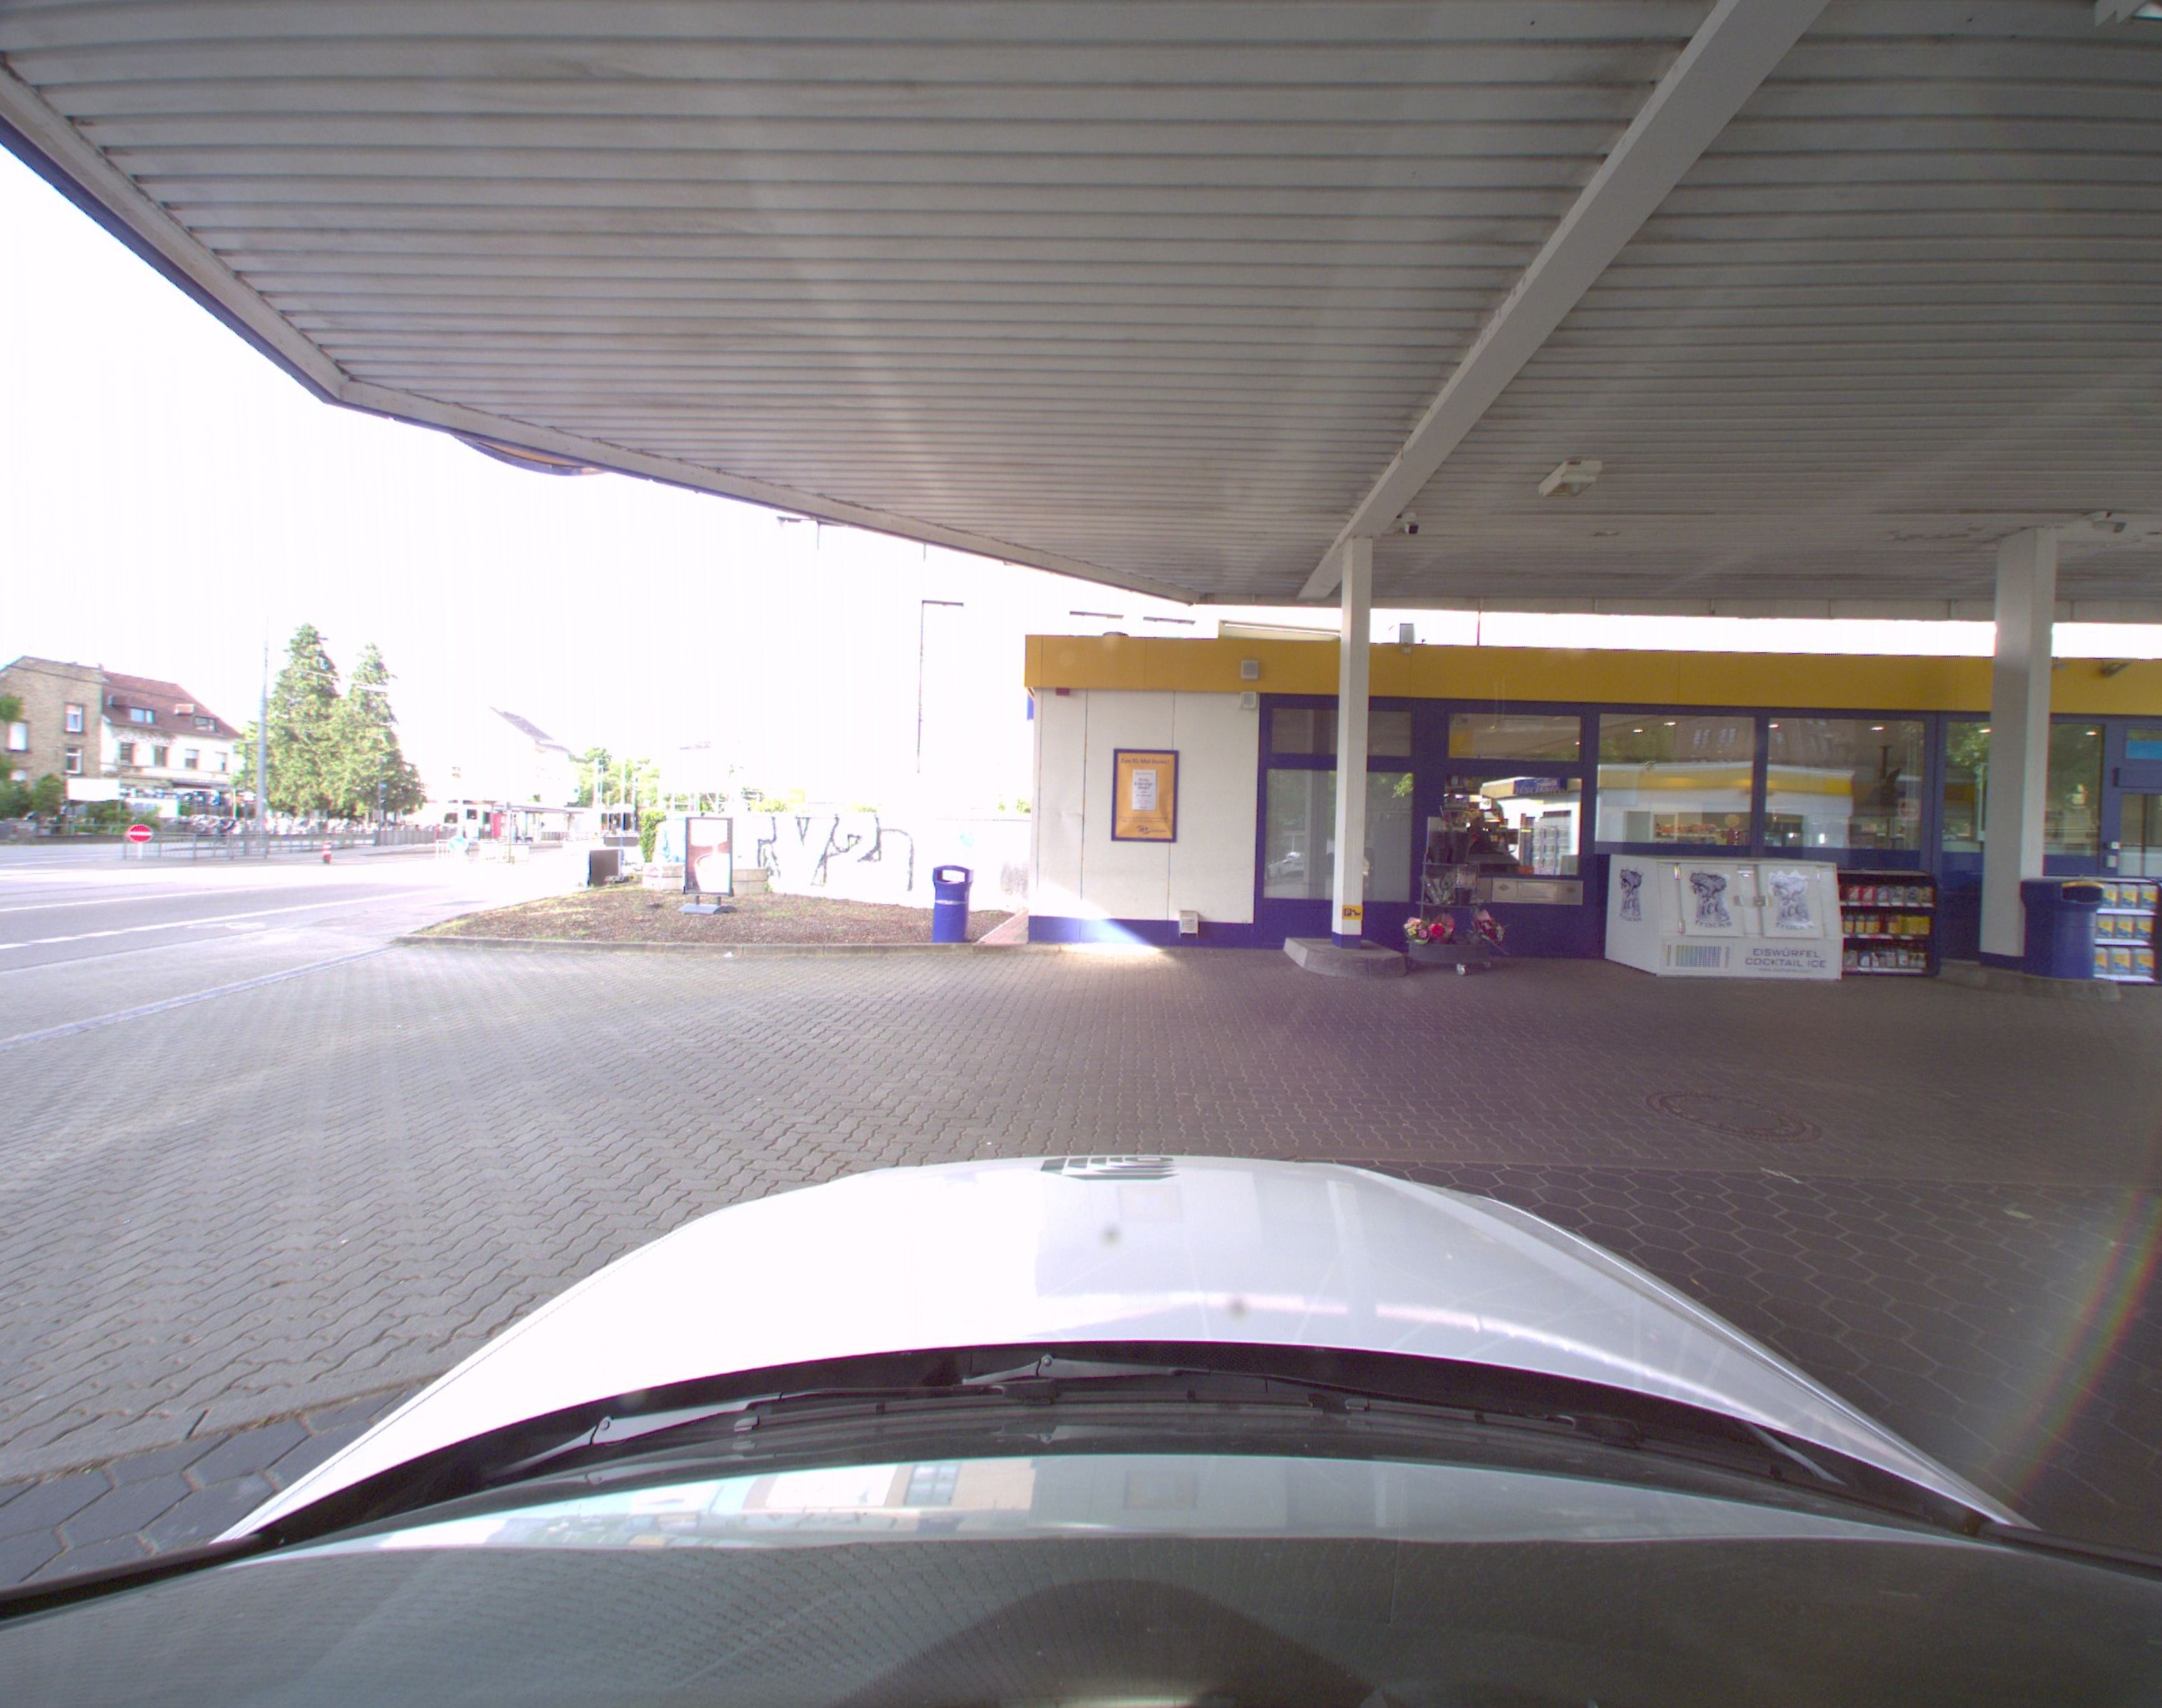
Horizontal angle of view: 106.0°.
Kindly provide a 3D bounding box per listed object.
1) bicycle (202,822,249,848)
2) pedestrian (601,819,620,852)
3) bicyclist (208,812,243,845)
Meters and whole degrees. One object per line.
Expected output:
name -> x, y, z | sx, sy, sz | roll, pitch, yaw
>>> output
bicycle -> -41.199, -0.899, 39.235 | 0.680, 1.222, 1.908 | 0, 1, -17
pedestrian -> -28.955, -1.121, 50.086 | 0.807, 2.014, 0.846 | 0, -1, -14
bicyclist -> -41.195, -1.221, 39.235 | 0.680, 1.534, 1.079 | 0, 1, -17
